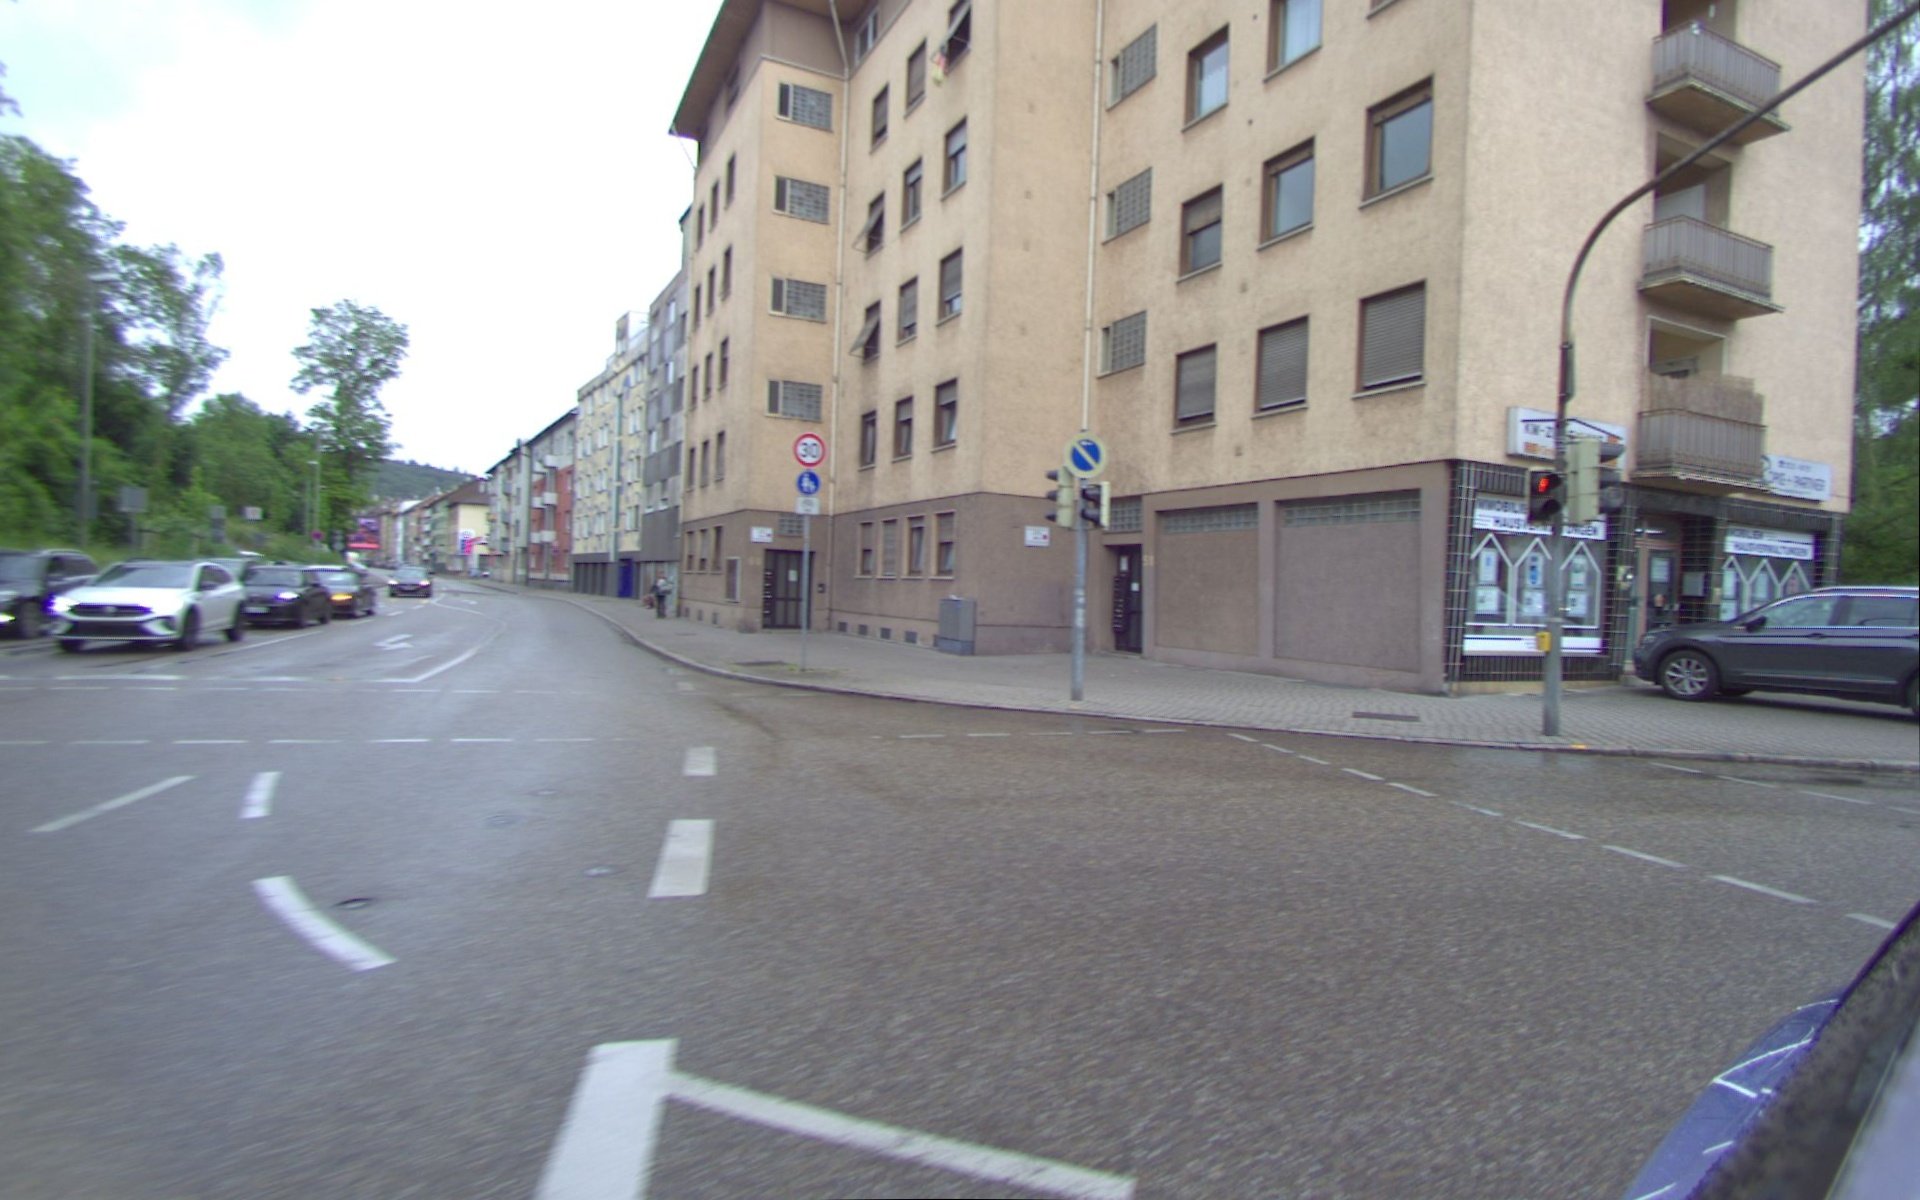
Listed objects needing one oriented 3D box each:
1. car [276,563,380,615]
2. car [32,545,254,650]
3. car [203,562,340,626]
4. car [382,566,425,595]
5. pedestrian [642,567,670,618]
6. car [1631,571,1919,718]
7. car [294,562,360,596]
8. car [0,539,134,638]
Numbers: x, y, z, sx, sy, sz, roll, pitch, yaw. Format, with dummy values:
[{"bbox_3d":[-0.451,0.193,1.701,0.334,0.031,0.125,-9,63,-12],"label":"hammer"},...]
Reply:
[{"bbox_3d":[-18.240,-0.339,29.380,1.771,1.387,4.165,0,1,-21],"label":"car"},{"bbox_3d":[-13.909,-0.085,17.542,1.771,1.581,4.165,0,1,-21],"label":"car"},{"bbox_3d":[-16.372,-0.183,24.292,1.771,1.387,4.165,0,1,-21],"label":"car"},{"bbox_3d":[-27.421,-0.969,49.950,1.772,1.387,4.162,0,1,-28],"label":"car"},{"bbox_3d":[-11.012,-0.260,36.594,0.764,1.828,1.033,2,-2,-27],"label":"pedestrian"},{"bbox_3d":[11.640,0.514,13.226,1.847,1.669,4.384,0,3,-34],"label":"car"},{"bbox_3d":[-29.040,-0.970,46.585,1.978,1.501,4.973,0,1,-25],"label":"car"},{"bbox_3d":[-18.112,-0.276,19.539,1.789,1.718,4.638,0,2,-18],"label":"car"}]
